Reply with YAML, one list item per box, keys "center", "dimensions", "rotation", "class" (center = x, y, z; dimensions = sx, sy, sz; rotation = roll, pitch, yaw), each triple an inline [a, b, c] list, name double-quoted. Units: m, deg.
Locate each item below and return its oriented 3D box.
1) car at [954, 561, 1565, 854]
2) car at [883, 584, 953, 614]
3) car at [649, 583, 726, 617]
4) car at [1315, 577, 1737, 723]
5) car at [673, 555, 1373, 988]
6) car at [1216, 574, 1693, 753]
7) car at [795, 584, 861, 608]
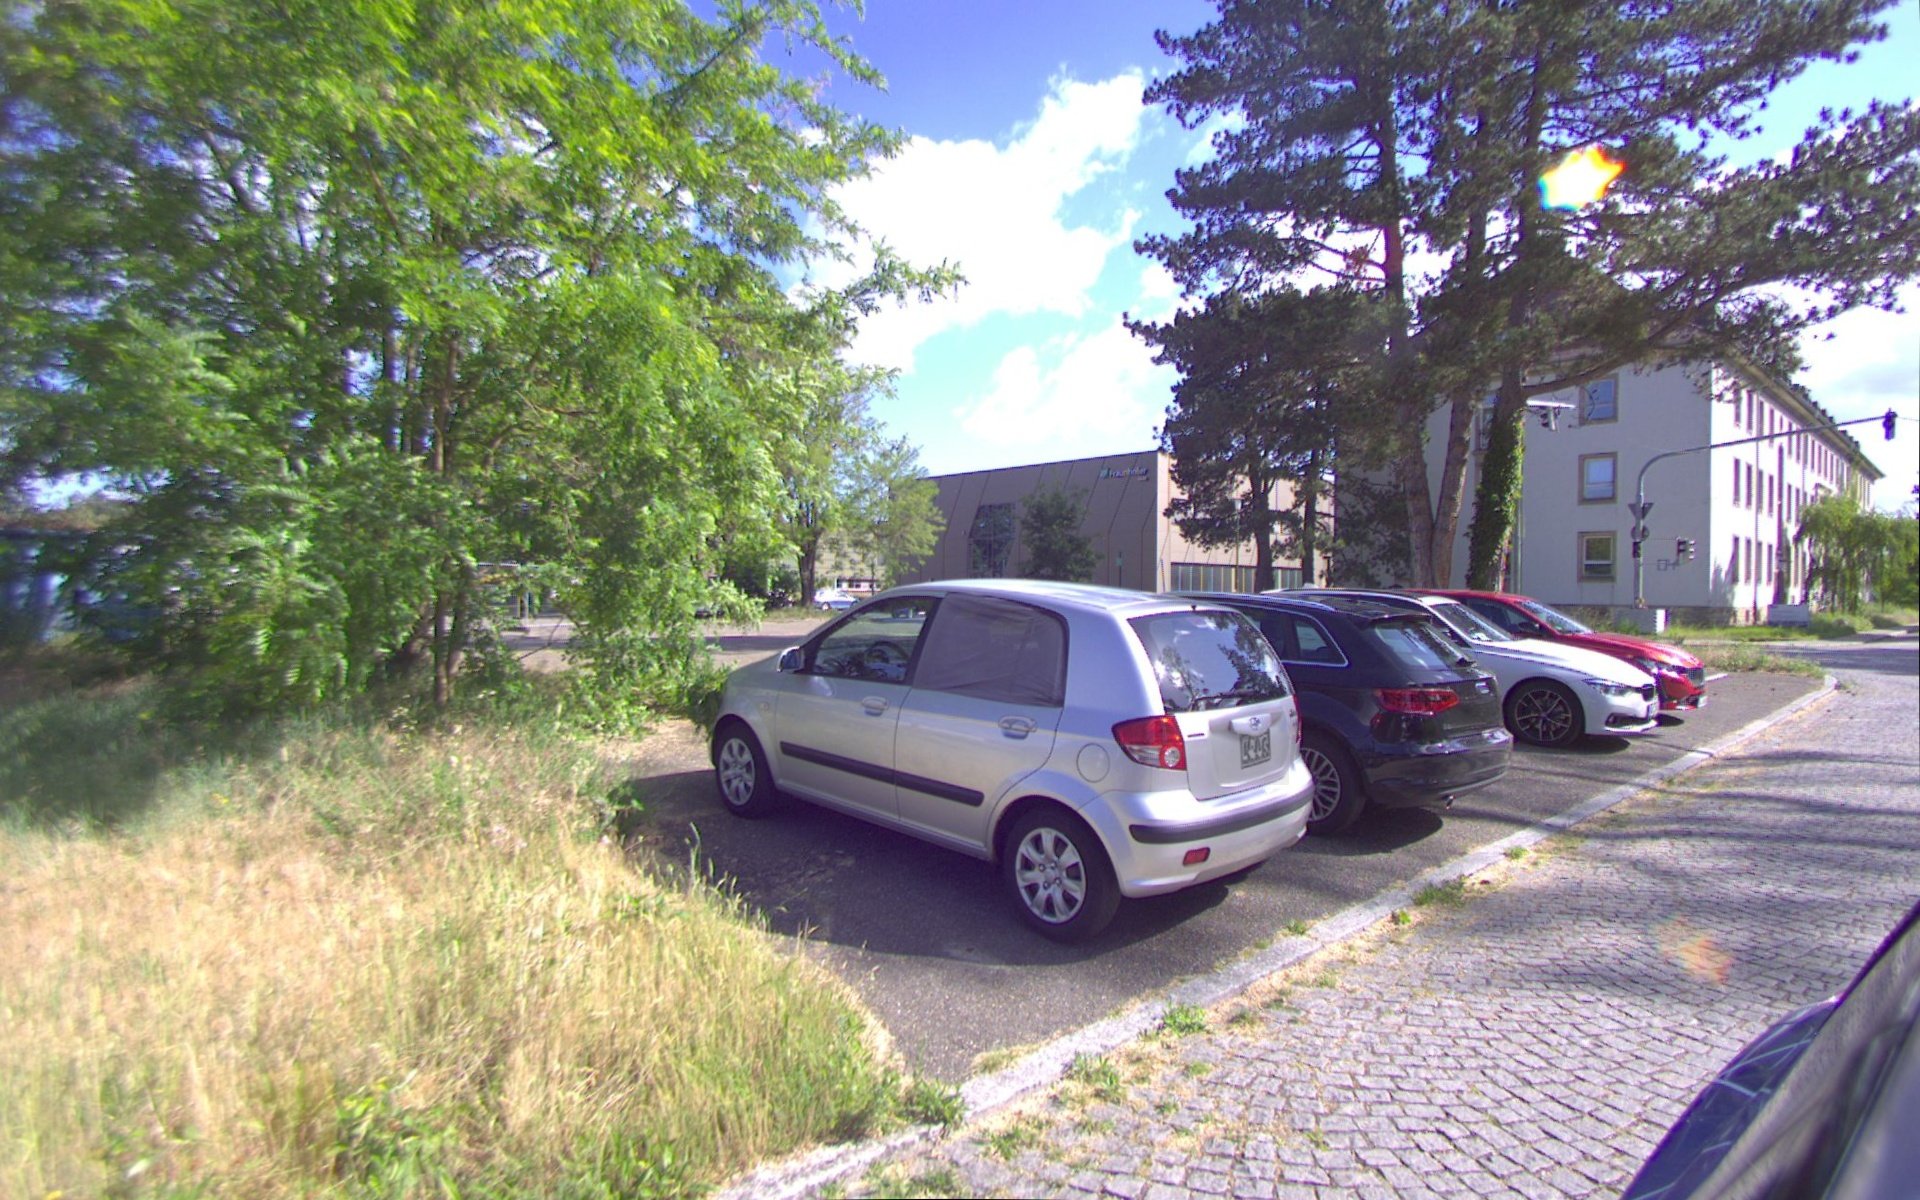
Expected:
- center: [2.002, 0.536, 7.620]
  dimensions: [1.813, 1.458, 4.009]
  rotation: [0, 4, -44]
  class: "car"
- center: [-2.583, -0.086, 62.248]
  dimensions: [3.991, 1.583, 1.859]
  rotation: [-4, 3, -41]
  class: "car"
- center: [-12.396, -0.028, 45.955]
  dimensions: [1.716, 1.440, 3.992]
  rotation: [2, 0, -42]
  class: "car"
- center: [7.340, 0.507, 13.510]
  dimensions: [1.863, 1.438, 4.543]
  rotation: [-1, 4, -43]
  class: "car"
- center: [0.087, 0.575, 5.714]
  dimensions: [1.723, 1.494, 3.745]
  rotation: [0, 4, -44]
  class: "car"
- center: [5.402, 0.528, 11.529]
  dimensions: [1.809, 1.482, 4.516]
  rotation: [-1, 4, -45]
  class: "car"
- center: [-9.014, -0.261, 69.167]
  dimensions: [4.155, 1.584, 1.857]
  rotation: [0, -2, -43]
  class: "car"
